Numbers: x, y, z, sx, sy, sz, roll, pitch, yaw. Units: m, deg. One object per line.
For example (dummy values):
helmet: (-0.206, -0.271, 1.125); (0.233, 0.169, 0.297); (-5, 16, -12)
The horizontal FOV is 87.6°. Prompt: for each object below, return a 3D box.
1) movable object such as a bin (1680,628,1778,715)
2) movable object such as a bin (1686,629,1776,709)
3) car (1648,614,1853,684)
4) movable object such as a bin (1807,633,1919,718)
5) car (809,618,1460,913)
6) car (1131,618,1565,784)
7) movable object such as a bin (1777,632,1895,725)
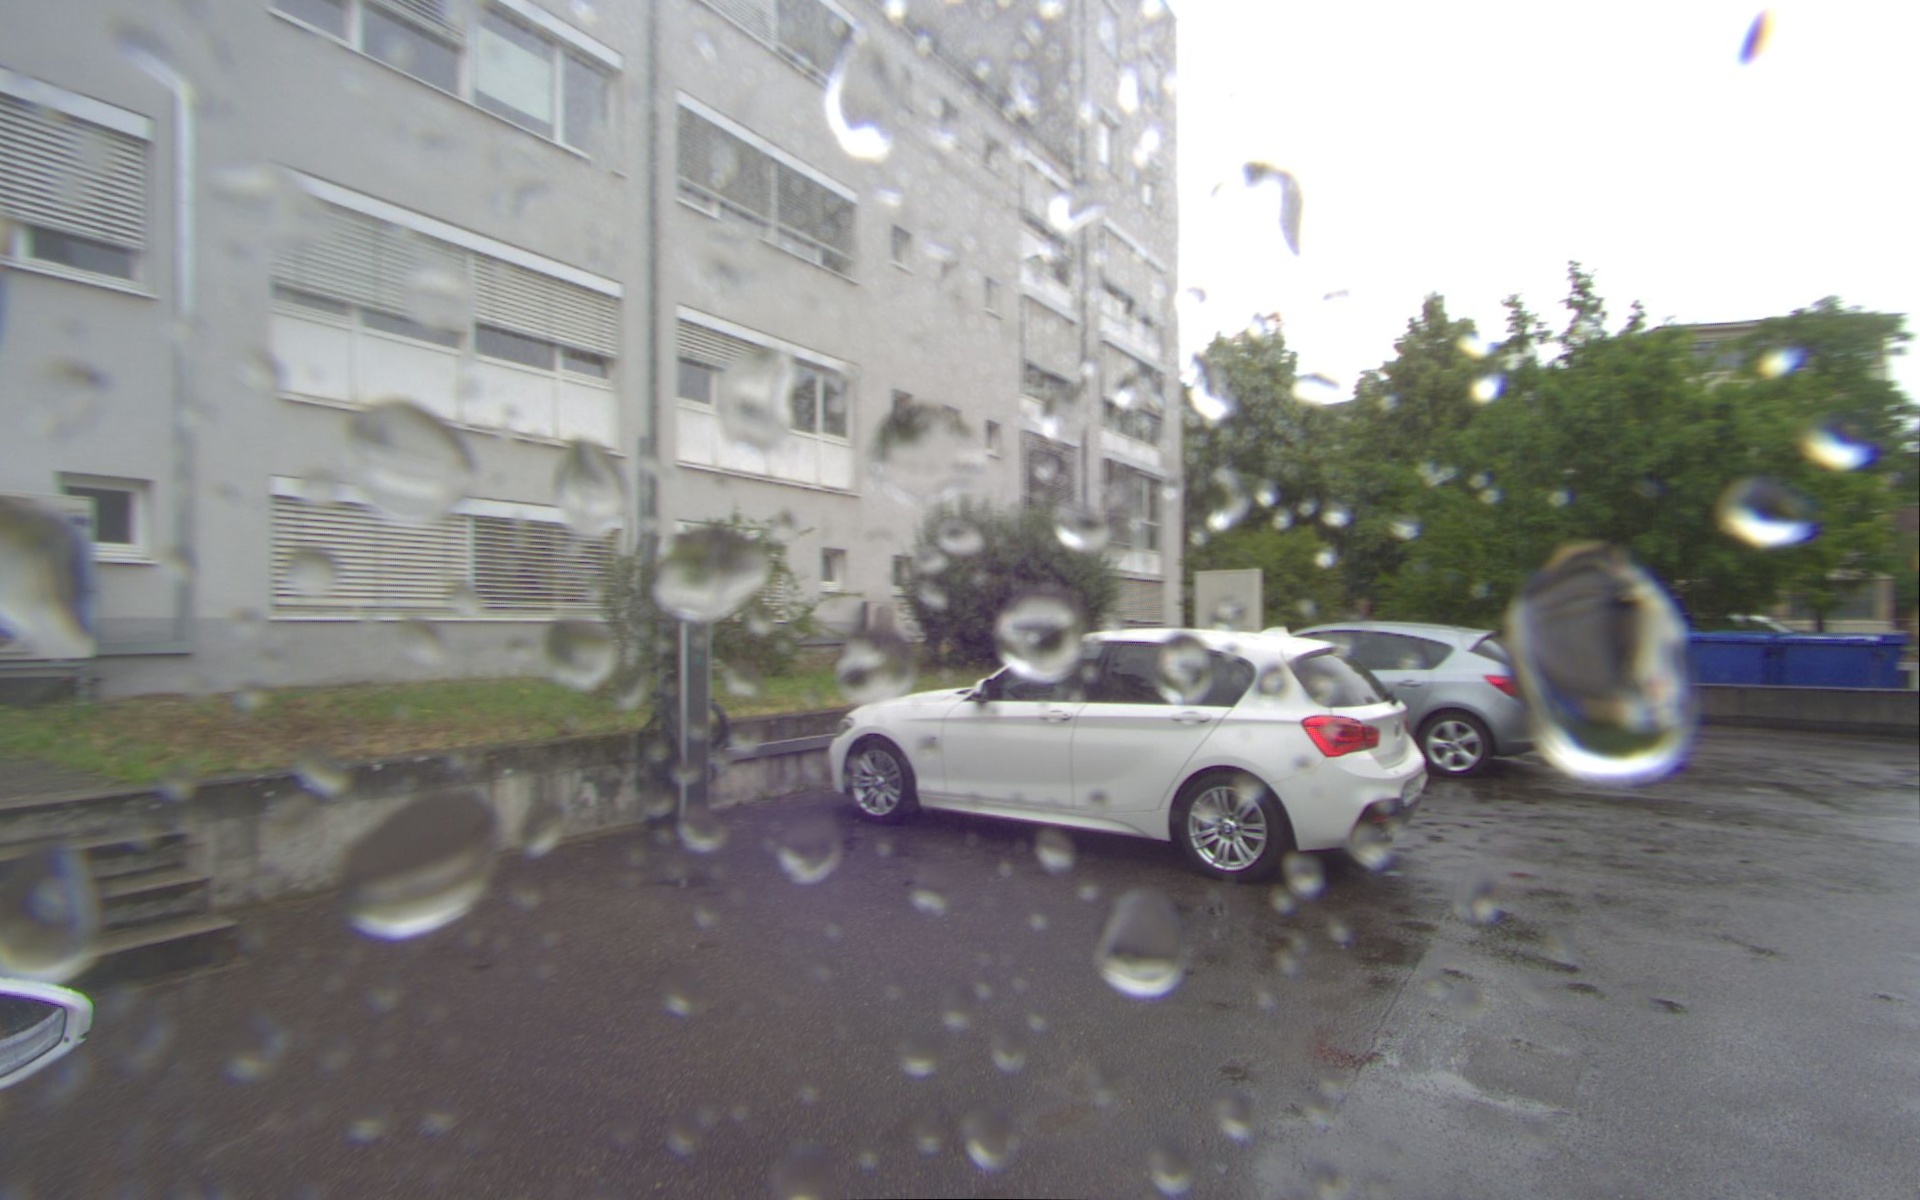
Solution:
movable object such as a bin: (12.982, 1.201, 16.909); (1.219, 1.374, 1.958); (-2, -4, 38)
movable object such as a bin: (14.215, 1.265, 18.464); (1.219, 1.374, 1.958); (-2, -4, 38)
car: (23.493, 1.520, 29.894); (4.646, 1.904, 2.108); (-3, -6, 41)
movable object such as a bin: (15.524, 1.289, 17.278); (1.298, 1.374, 1.892); (-2, -4, 39)
car: (1.116, 0.916, 7.167); (4.165, 1.508, 1.988); (-1, -2, 36)
car: (4.230, 0.989, 11.149); (4.165, 1.508, 1.988); (-1, -2, 36)
movable object such as a bin: (13.991, 1.244, 16.078); (1.298, 1.374, 1.892); (-2, -4, 39)
